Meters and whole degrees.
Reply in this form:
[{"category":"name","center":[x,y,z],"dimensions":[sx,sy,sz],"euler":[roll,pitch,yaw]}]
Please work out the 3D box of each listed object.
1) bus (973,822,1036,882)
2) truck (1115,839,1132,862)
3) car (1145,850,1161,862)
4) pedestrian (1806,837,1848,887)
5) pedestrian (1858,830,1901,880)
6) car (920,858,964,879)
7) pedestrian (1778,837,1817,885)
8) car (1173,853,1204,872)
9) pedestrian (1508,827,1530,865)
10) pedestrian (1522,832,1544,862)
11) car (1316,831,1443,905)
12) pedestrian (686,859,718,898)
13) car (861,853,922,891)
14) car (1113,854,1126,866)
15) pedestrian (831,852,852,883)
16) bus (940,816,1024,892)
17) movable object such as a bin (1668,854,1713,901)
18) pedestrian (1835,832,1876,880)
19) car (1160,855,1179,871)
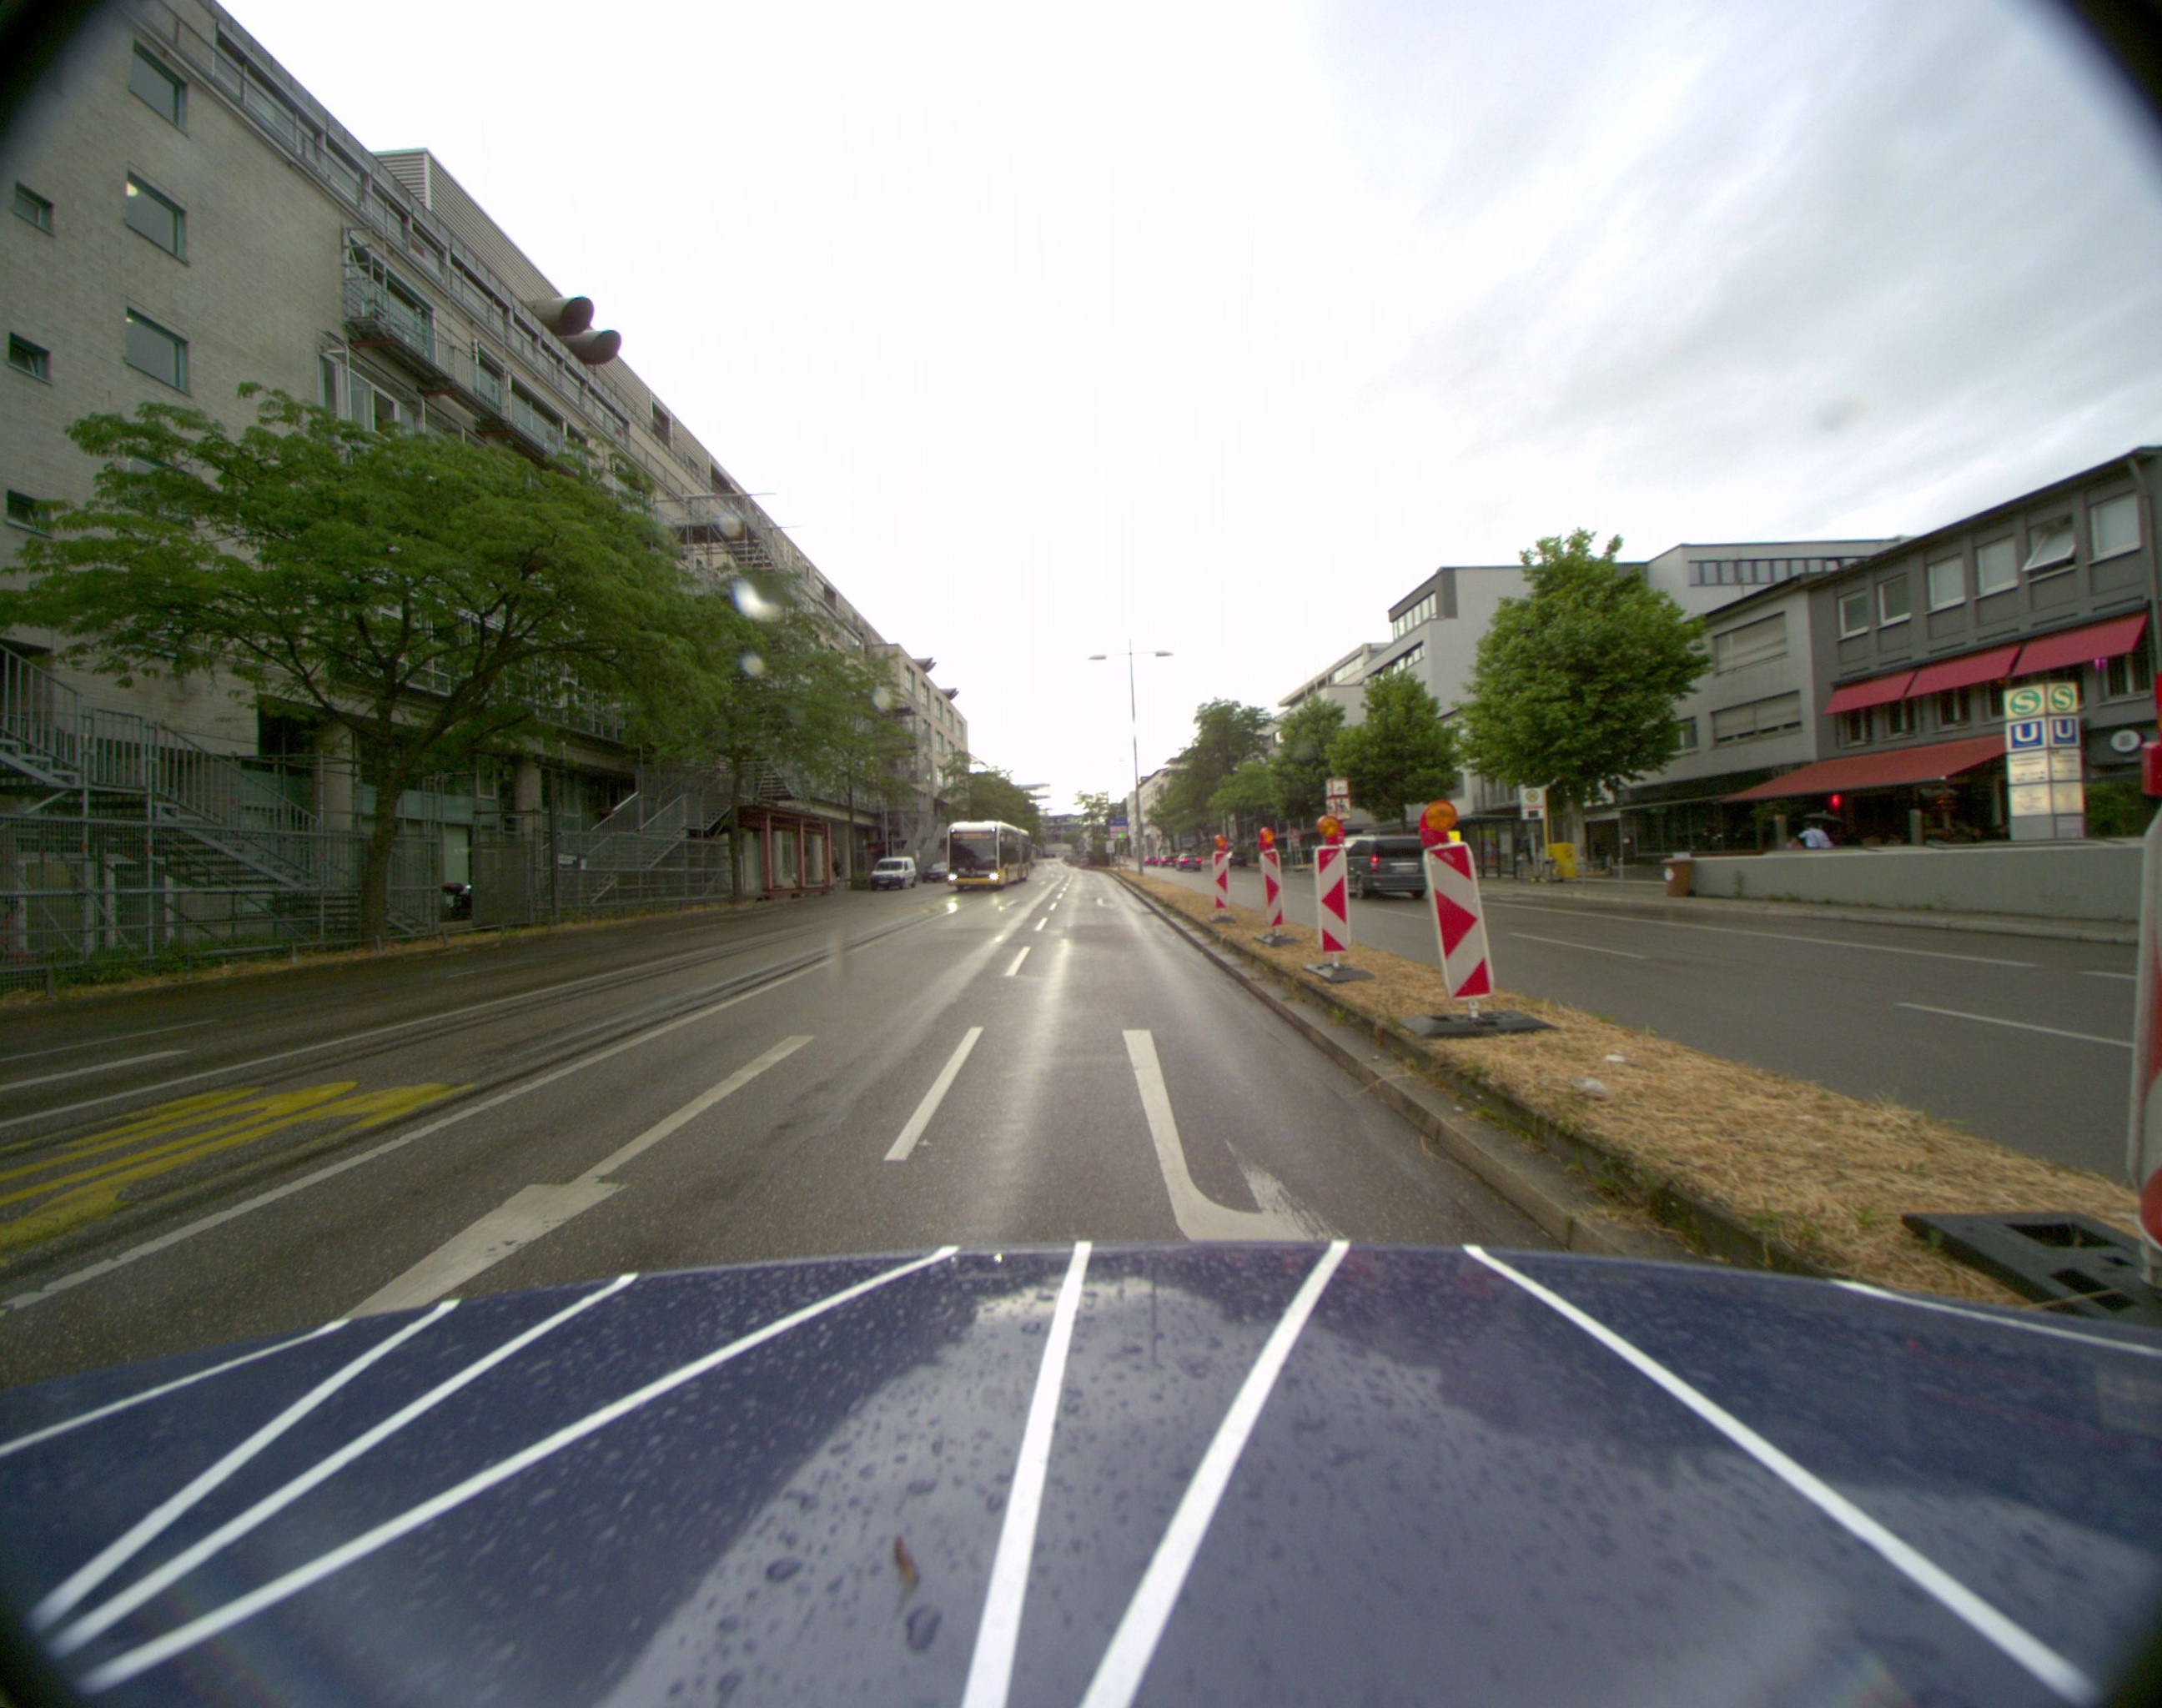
[{"category":"bus","center":[-4.787,-0.171,49.781],"dimensions":[2.890,3.420,9.709],"euler":[-2,1,1]},{"category":"truck","center":[7.097,-0.560,127.104],"dimensions":[1.999,3.557,7.572],"euler":[-2,0,-2]},{"category":"car","center":[10.442,0.273,110.068],"dimensions":[1.692,1.545,4.419],"euler":[-2,1,-2]},{"category":"pedestrian","center":[23.235,0.245,23.680],"dimensions":[0.669,1.520,0.611],"euler":[-2,1,3]},{"category":"pedestrian","center":[24.991,0.031,23.782],"dimensions":[0.669,1.520,0.611],"euler":[-2,1,3]},{"category":"car","center":[-9.897,1.007,54.408],"dimensions":[2.147,1.329,4.816],"euler":[-2,1,0]},{"category":"pedestrian","center":[23.330,0.221,24.761],"dimensions":[0.669,1.520,0.611],"euler":[-2,1,3]},{"category":"car","center":[8.918,0.689,63.321],"dimensions":[1.692,1.501,4.290],"euler":[-2,0,-3]},{"category":"pedestrian","center":[23.853,-0.449,41.404],"dimensions":[0.774,2.002,0.767],"euler":[-2,1,8]},{"category":"pedestrian","center":[24.668,-0.384,41.465],"dimensions":[0.774,1.556,0.767],"euler":[-2,1,8]},{"category":"car","center":[9.111,0.312,23.725],"dimensions":[1.998,1.917,4.962],"euler":[-2,3,0]},{"category":"pedestrian","center":[-18.208,1.161,36.518],"dimensions":[1.009,1.789,0.846],"euler":[-2,1,2]},{"category":"car","center":[-10.529,0.938,42.644],"dimensions":[2.213,1.895,4.329],"euler":[-2,1,0]},{"category":"car","center":[6.987,1.081,139.364],"dimensions":[1.999,2.002,3.999],"euler":[-2,1,-2]},{"category":"pedestrian","center":[-15.942,0.908,50.572],"dimensions":[1.009,2.002,1.039],"euler":[-2,1,1]},{"category":"bus","center":[-4.936,-0.061,40.046],"dimensions":[2.890,3.430,9.756],"euler":[-2,1,1]},{"category":"movable object such as a bin","center":[14.562,0.550,18.157],"dimensions":[0.507,1.094,0.660],"euler":[-2,1,-2]},{"category":"pedestrian","center":[25.029,0.060,24.553],"dimensions":[0.669,1.520,0.611],"euler":[-2,1,4]},{"category":"car","center":[10.303,1.086,88.535],"dimensions":[1.691,1.421,4.219],"euler":[-2,-6,0]}]
